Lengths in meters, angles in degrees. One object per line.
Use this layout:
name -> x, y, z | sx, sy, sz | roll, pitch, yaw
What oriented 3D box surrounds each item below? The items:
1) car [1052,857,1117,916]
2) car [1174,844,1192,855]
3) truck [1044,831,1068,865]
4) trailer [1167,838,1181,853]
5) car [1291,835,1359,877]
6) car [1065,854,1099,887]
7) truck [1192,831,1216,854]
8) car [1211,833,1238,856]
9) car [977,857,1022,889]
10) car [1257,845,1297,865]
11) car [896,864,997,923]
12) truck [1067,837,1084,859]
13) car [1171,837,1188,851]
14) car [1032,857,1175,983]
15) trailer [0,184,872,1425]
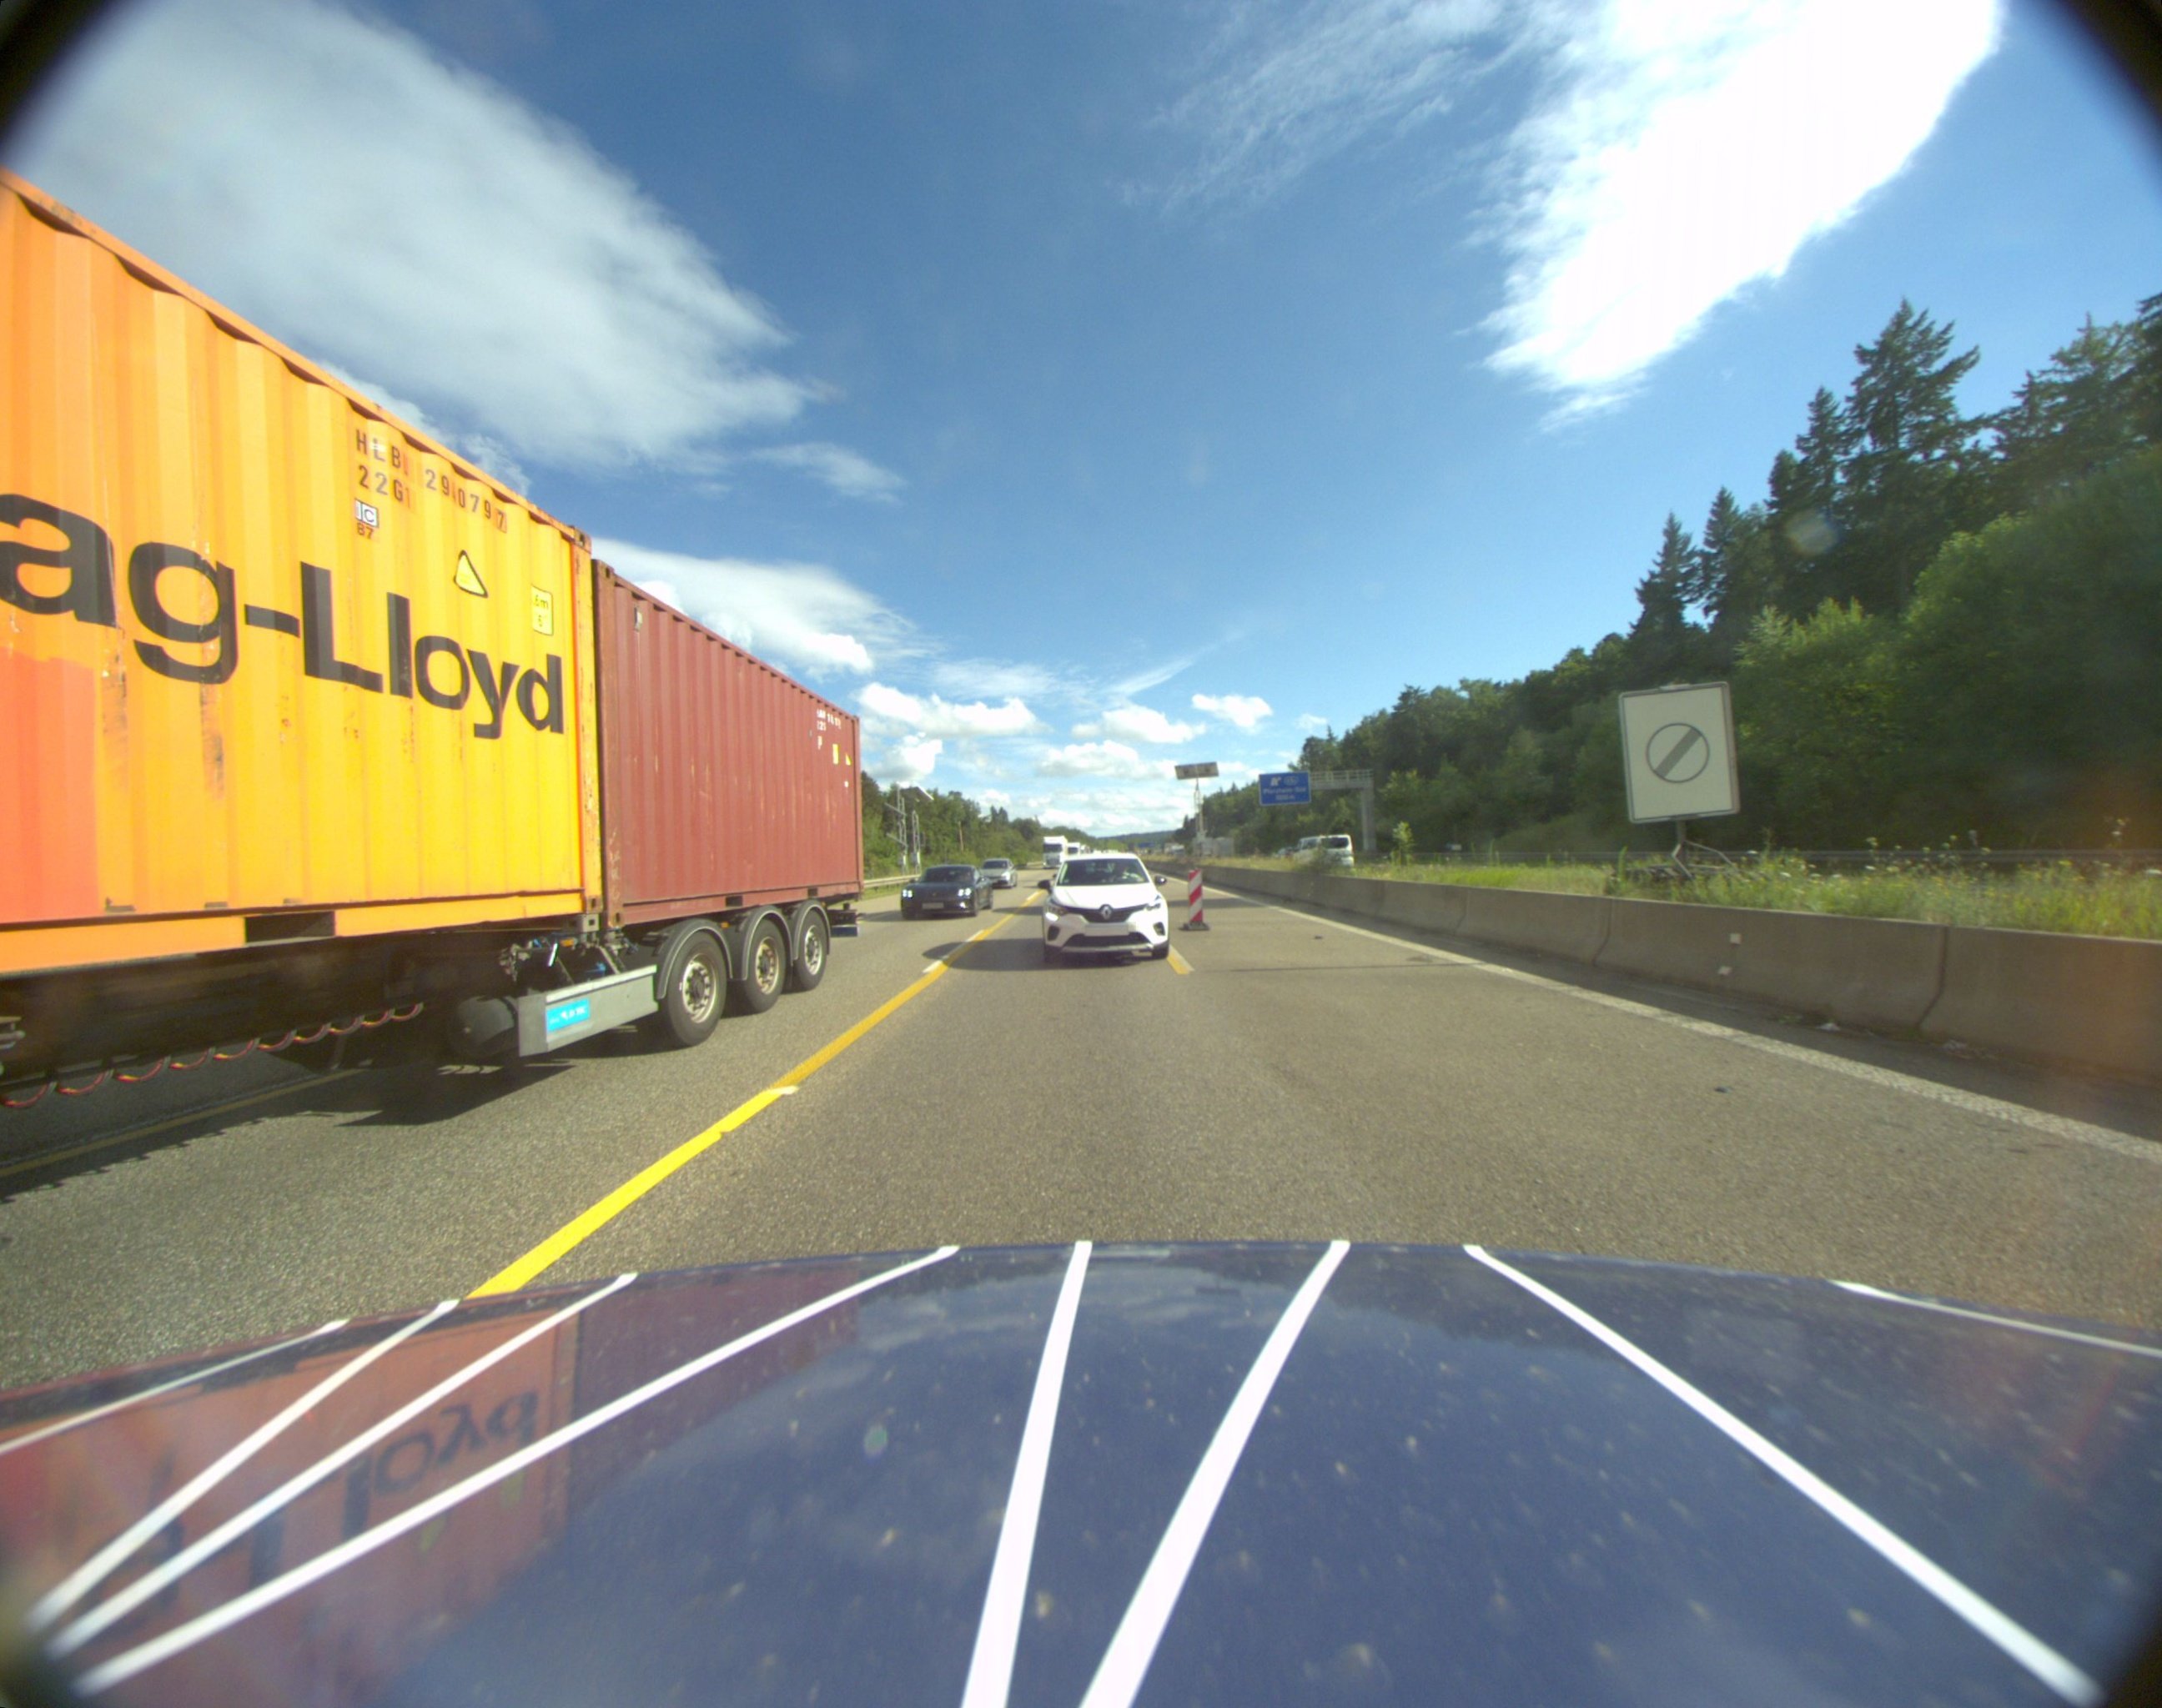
car -> 0.125, 0.880, 22.102 | 1.692, 1.471, 3.754 | -2, 1, 1
car -> 13.291, -0.592, 99.524 | 1.783, 1.379, 4.310 | -2, 1, 1
truck -> -3.104, -0.725, 95.627 | 2.641, 4.092, 8.194 | -2, 0, -1
trailer -> 24.584, -2.345, 201.664 | 2.797, 3.901, 8.487 | -2, 1, 1
car -> 12.673, 0.050, 39.815 | 1.998, 2.002, 4.831 | -2, 1, 1
car -> 0.080, 0.797, 39.158 | 1.633, 1.548, 3.754 | -2, 0, 1
truck -> 22.420, -2.032, 138.995 | 2.807, 3.969, 10.185 | -2, 0, 1
car -> 21.446, -1.438, 114.021 | 2.493, 3.351, 7.451 | -2, 1, 0
car -> -4.151, 0.935, 39.109 | 1.762, 1.471, 3.967 | -2, 1, 1
car -> 14.668, 0.062, 57.025 | 1.963, 1.355, 4.287 | -2, 1, 1
car -> -3.643, 1.037, 21.448 | 1.933, 1.342, 4.477 | -2, 0, 1
truck -> -1.024, -1.108, 144.687 | 2.640, 4.092, 8.196 | -2, 0, 3
car -> 17.939, -1.861, 138.699 | 2.165, 2.437, 6.330 | -3, 1, 1
car -> 0.298, 0.889, 12.051 | 1.840, 1.528, 3.882 | -2, 1, 0
trailer -> -4.473, -0.158, 5.202 | 2.478, 3.753, 12.135 | -2, 0, 0
